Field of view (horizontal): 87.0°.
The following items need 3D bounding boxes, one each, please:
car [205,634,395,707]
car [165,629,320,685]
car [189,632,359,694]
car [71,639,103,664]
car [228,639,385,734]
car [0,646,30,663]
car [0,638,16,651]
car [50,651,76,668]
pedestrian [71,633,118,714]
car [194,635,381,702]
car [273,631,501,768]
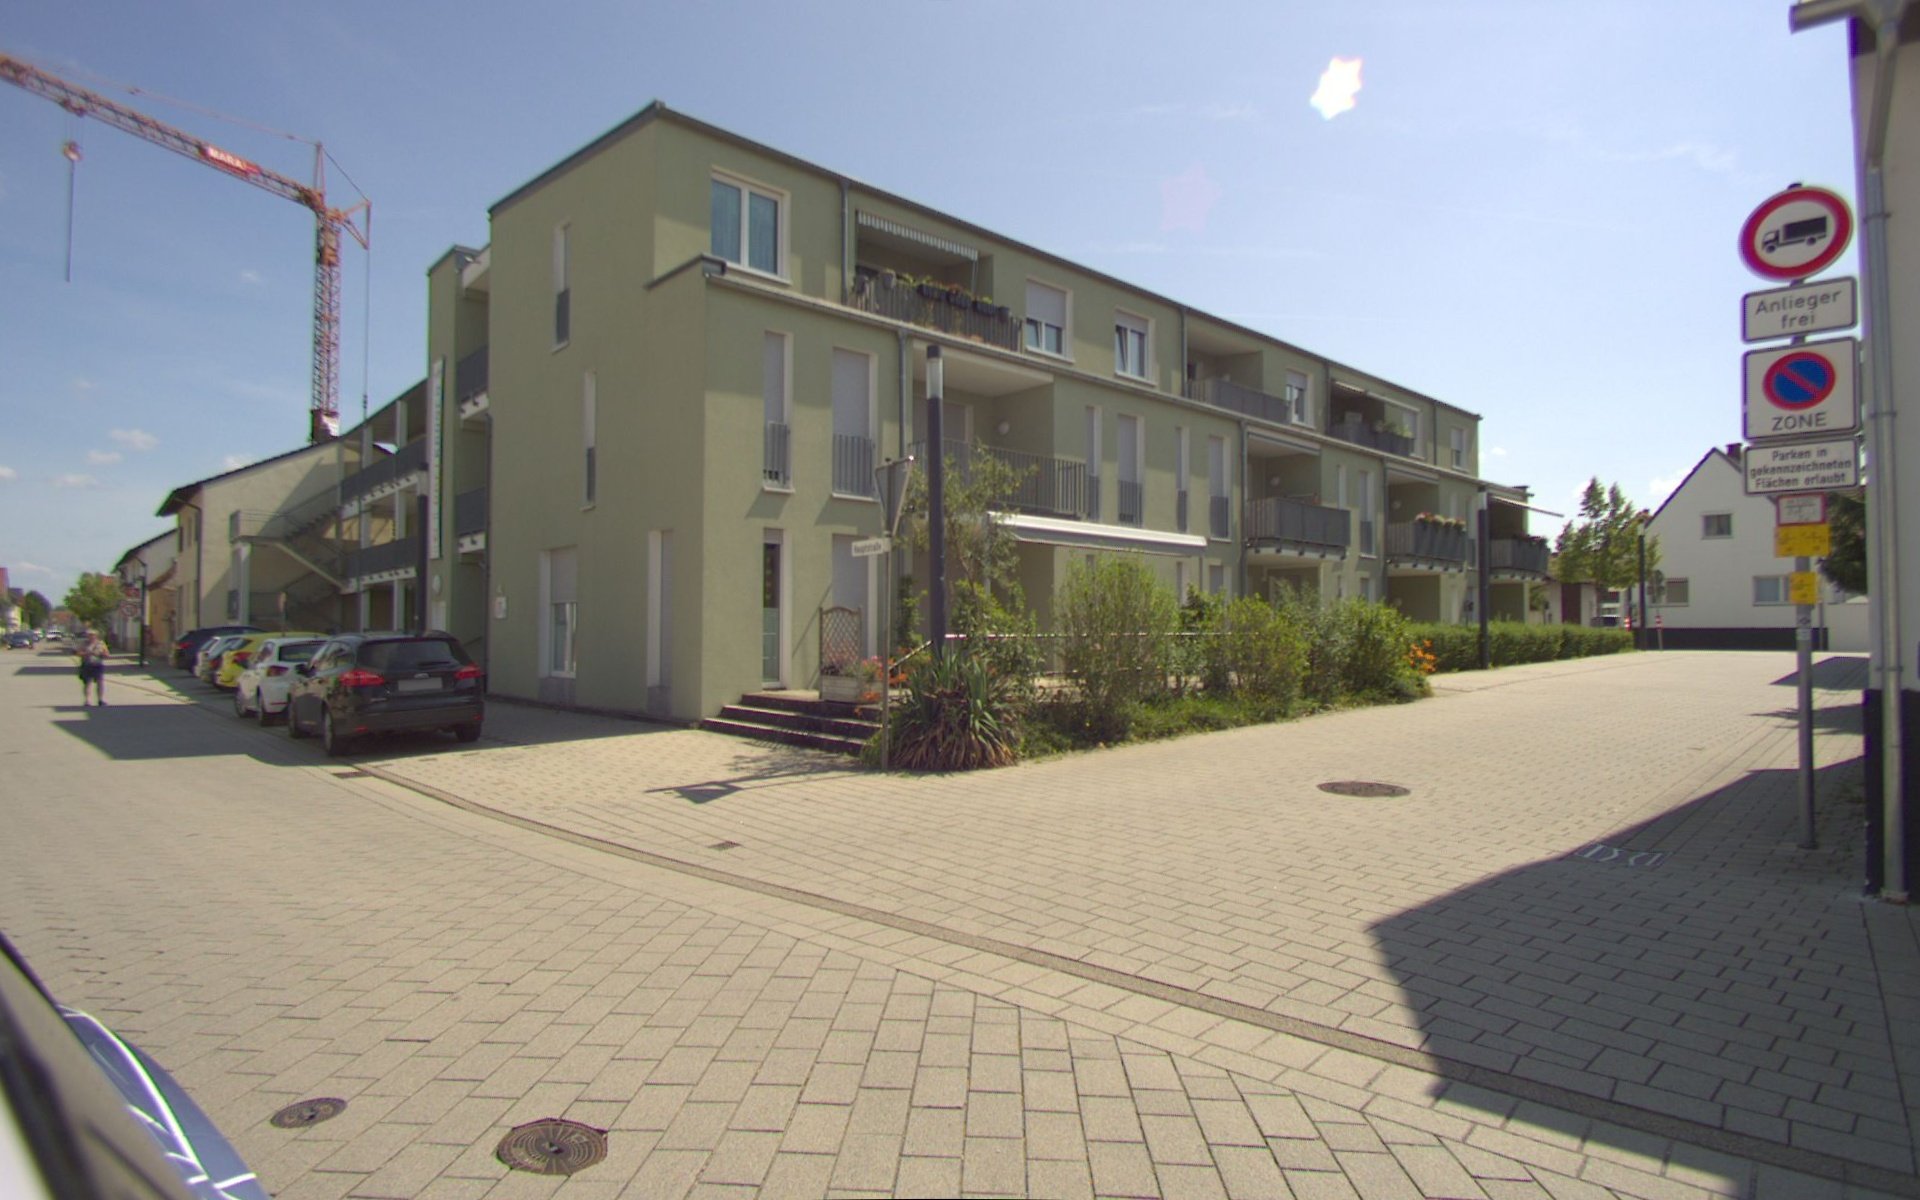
[{"bbox_3d":[-16.359,1.694,25.176,1.672,1.537,3.652,-3,-1,43],"label":"car"},{"bbox_3d":[-24.539,1.902,34.702,4.167,1.671,1.787,-1,-1,-42],"label":"car"},{"bbox_3d":[-19.690,1.759,29.117,3.853,1.514,1.753,-2,-1,-41],"label":"car"},{"bbox_3d":[-59.201,3.469,68.636,1.552,1.573,2.827,-1,-1,-39],"label":"car"},{"bbox_3d":[-11.595,1.442,17.852,1.736,1.421,3.882,-1,-1,-42],"label":"car"},{"bbox_3d":[-86.557,4.943,92.582,1.929,1.542,4.006,2,-3,-41],"label":"car"},{"bbox_3d":[-103.032,4.807,109.043,1.700,1.440,3.824,2,-3,-41],"label":"car"},{"bbox_3d":[-85.599,5.692,96.610,1.727,1.578,3.959,2,-3,-43],"label":"car"},{"bbox_3d":[-18.384,1.537,21.496,0.737,1.652,0.733,0,-1,-42],"label":"pedestrian"},{"bbox_3d":[-17.935,1.778,27.089,3.939,1.452,1.693,-2,0,-43],"label":"car"},{"bbox_3d":[-7.859,1.209,13.675,1.791,1.502,4.282,0,-2,-42],"label":"car"}]
